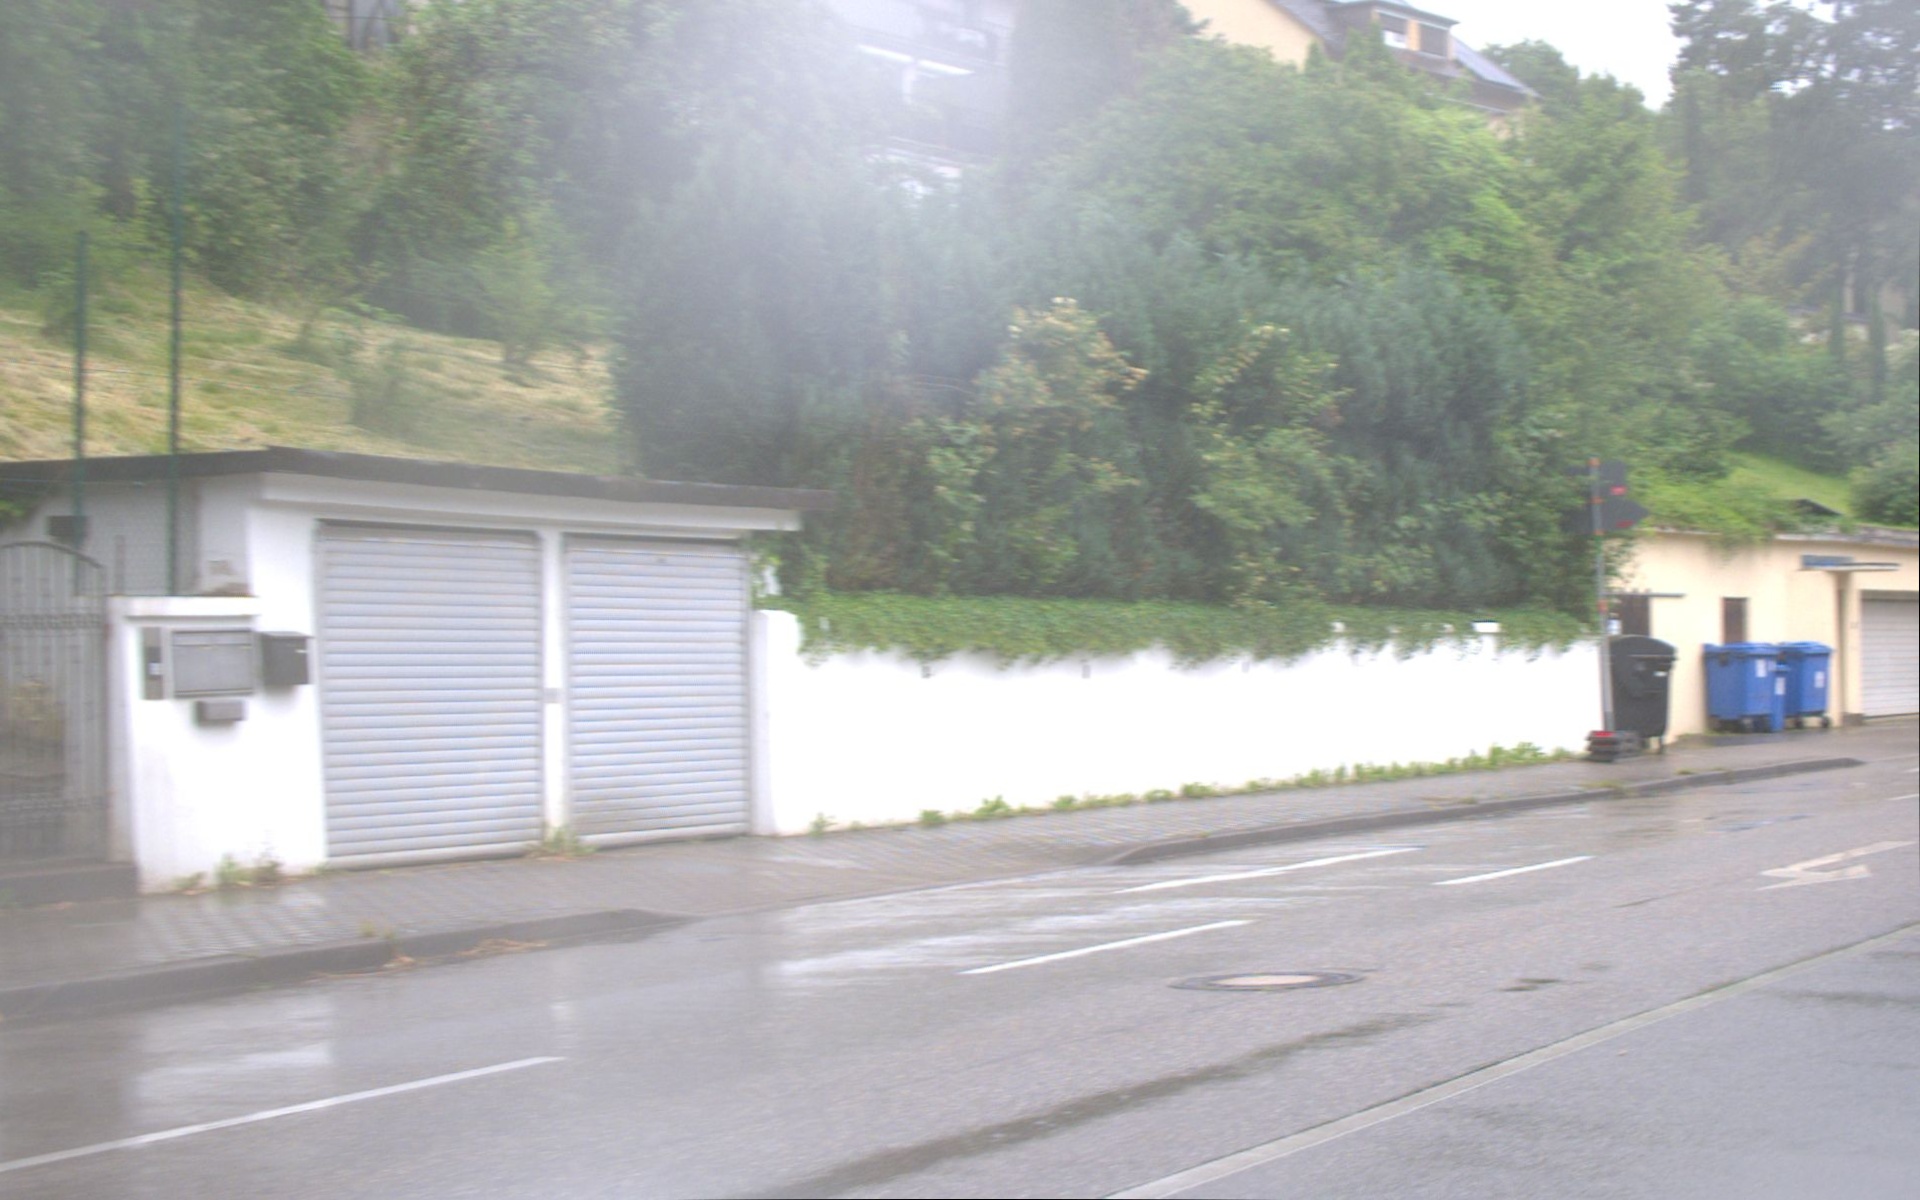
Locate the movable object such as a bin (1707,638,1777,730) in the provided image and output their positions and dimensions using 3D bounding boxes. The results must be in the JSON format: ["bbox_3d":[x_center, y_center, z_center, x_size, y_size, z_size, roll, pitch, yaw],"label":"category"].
[{"bbox_3d":[11.596,1.240,50.950,0.712,1.331,0.832,-2,0,35],"label":"movable object such as a bin"}]

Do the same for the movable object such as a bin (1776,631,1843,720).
[{"bbox_3d":[13.049,1.152,52.830,0.712,1.331,0.832,-2,0,35],"label":"movable object such as a bin"}]
